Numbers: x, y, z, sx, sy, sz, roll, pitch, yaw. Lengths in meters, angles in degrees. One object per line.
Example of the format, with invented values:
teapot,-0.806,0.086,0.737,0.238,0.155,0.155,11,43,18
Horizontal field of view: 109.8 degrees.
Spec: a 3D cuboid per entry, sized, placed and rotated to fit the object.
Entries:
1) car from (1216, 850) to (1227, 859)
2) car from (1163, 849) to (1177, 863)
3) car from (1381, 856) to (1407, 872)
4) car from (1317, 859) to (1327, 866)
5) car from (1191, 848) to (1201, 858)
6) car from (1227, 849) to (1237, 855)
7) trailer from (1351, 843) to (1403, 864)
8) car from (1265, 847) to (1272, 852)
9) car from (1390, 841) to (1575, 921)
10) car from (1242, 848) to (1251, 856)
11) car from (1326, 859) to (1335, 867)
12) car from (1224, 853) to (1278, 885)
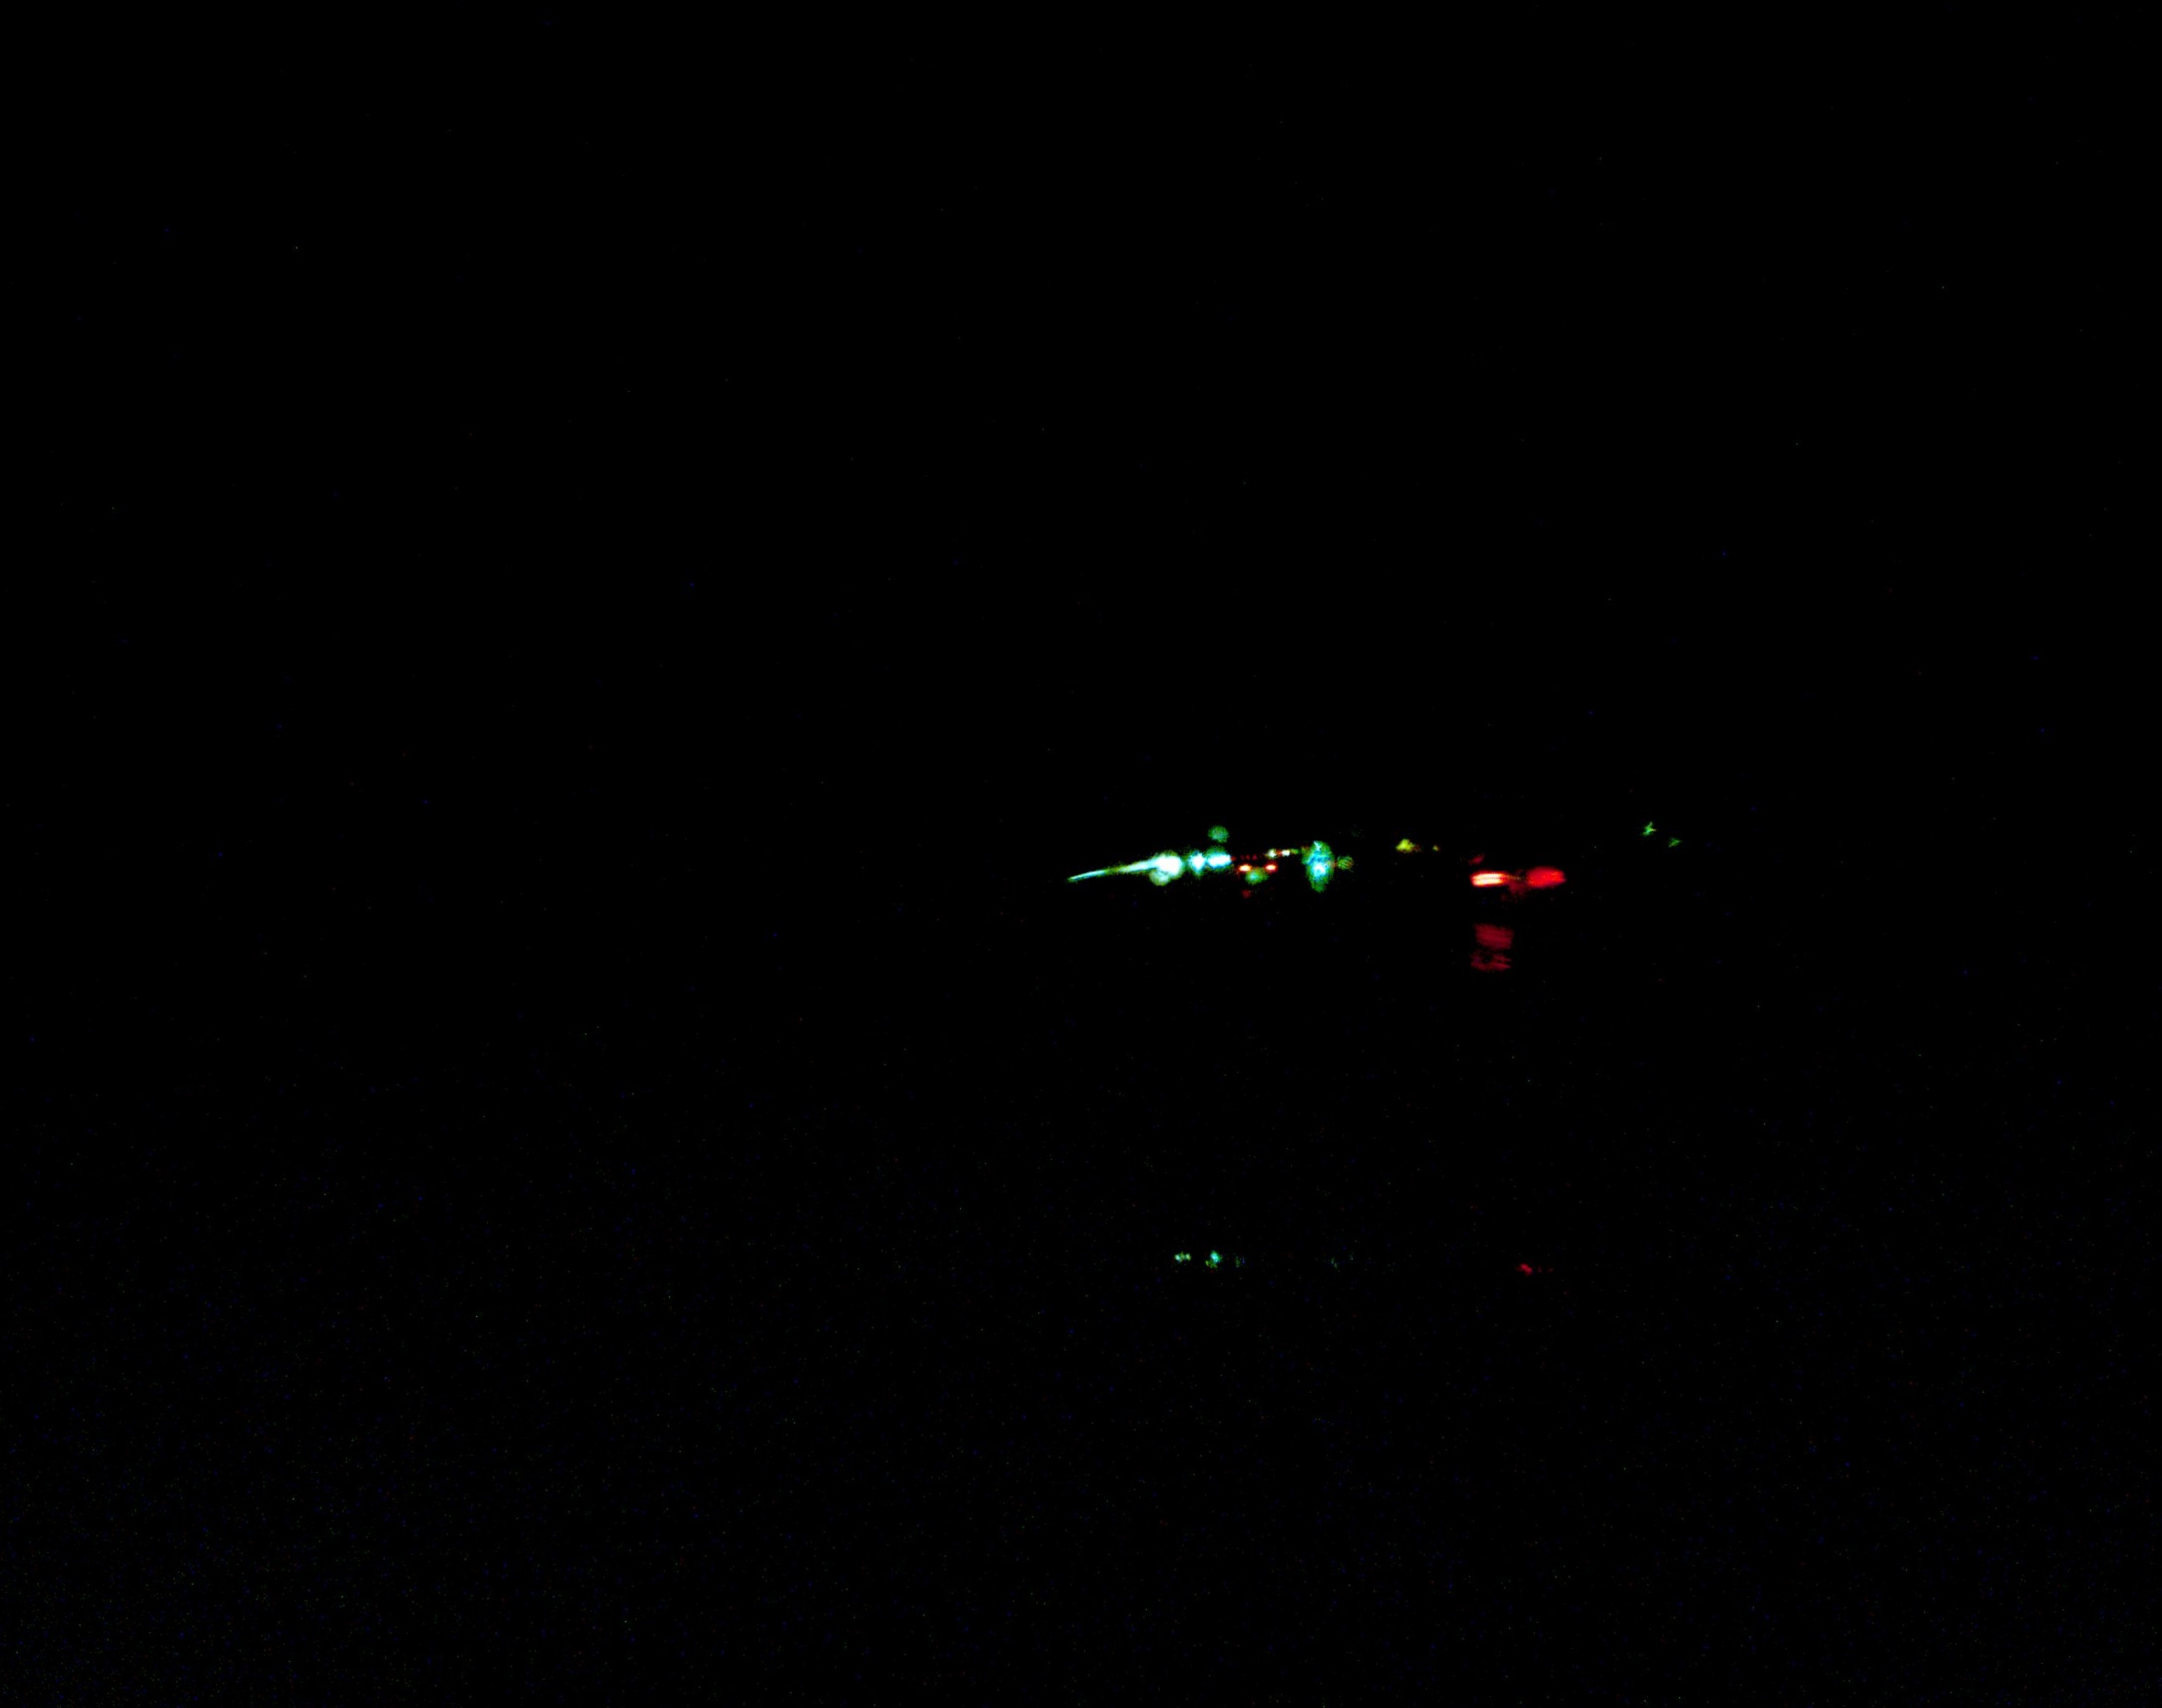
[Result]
car,36.938,0.118,199.733,1.996,2.002,4.005,-3,0,19
car,14.055,0.277,120.264,1.997,2.002,4.002,-3,0,8
car,41.979,1.273,101.941,1.998,2.002,4.001,-3,0,5
car,60.045,2.123,189.172,1.810,1.666,4.299,-3,0,22
car,25.457,-0.161,168.048,1.997,2.002,4.003,-3,0,13
car,37.487,-0.501,188.605,1.996,1.604,4.616,-2,0,14
trailer,73.774,-0.161,189.601,11.544,4.768,3.338,-3,1,3
car,60.190,-1.413,244.124,1.689,1.671,3.473,-2,1,24
car,10.201,0.623,19.800,2.204,1.735,4.523,-3,0,-3
car,46.563,-0.570,213.511,1.996,2.062,4.005,-3,0,18
car,57.781,2.097,175.900,1.810,1.561,4.299,-3,0,22
car,9.267,0.809,41.821,1.886,1.591,3.899,-3,0,-3
